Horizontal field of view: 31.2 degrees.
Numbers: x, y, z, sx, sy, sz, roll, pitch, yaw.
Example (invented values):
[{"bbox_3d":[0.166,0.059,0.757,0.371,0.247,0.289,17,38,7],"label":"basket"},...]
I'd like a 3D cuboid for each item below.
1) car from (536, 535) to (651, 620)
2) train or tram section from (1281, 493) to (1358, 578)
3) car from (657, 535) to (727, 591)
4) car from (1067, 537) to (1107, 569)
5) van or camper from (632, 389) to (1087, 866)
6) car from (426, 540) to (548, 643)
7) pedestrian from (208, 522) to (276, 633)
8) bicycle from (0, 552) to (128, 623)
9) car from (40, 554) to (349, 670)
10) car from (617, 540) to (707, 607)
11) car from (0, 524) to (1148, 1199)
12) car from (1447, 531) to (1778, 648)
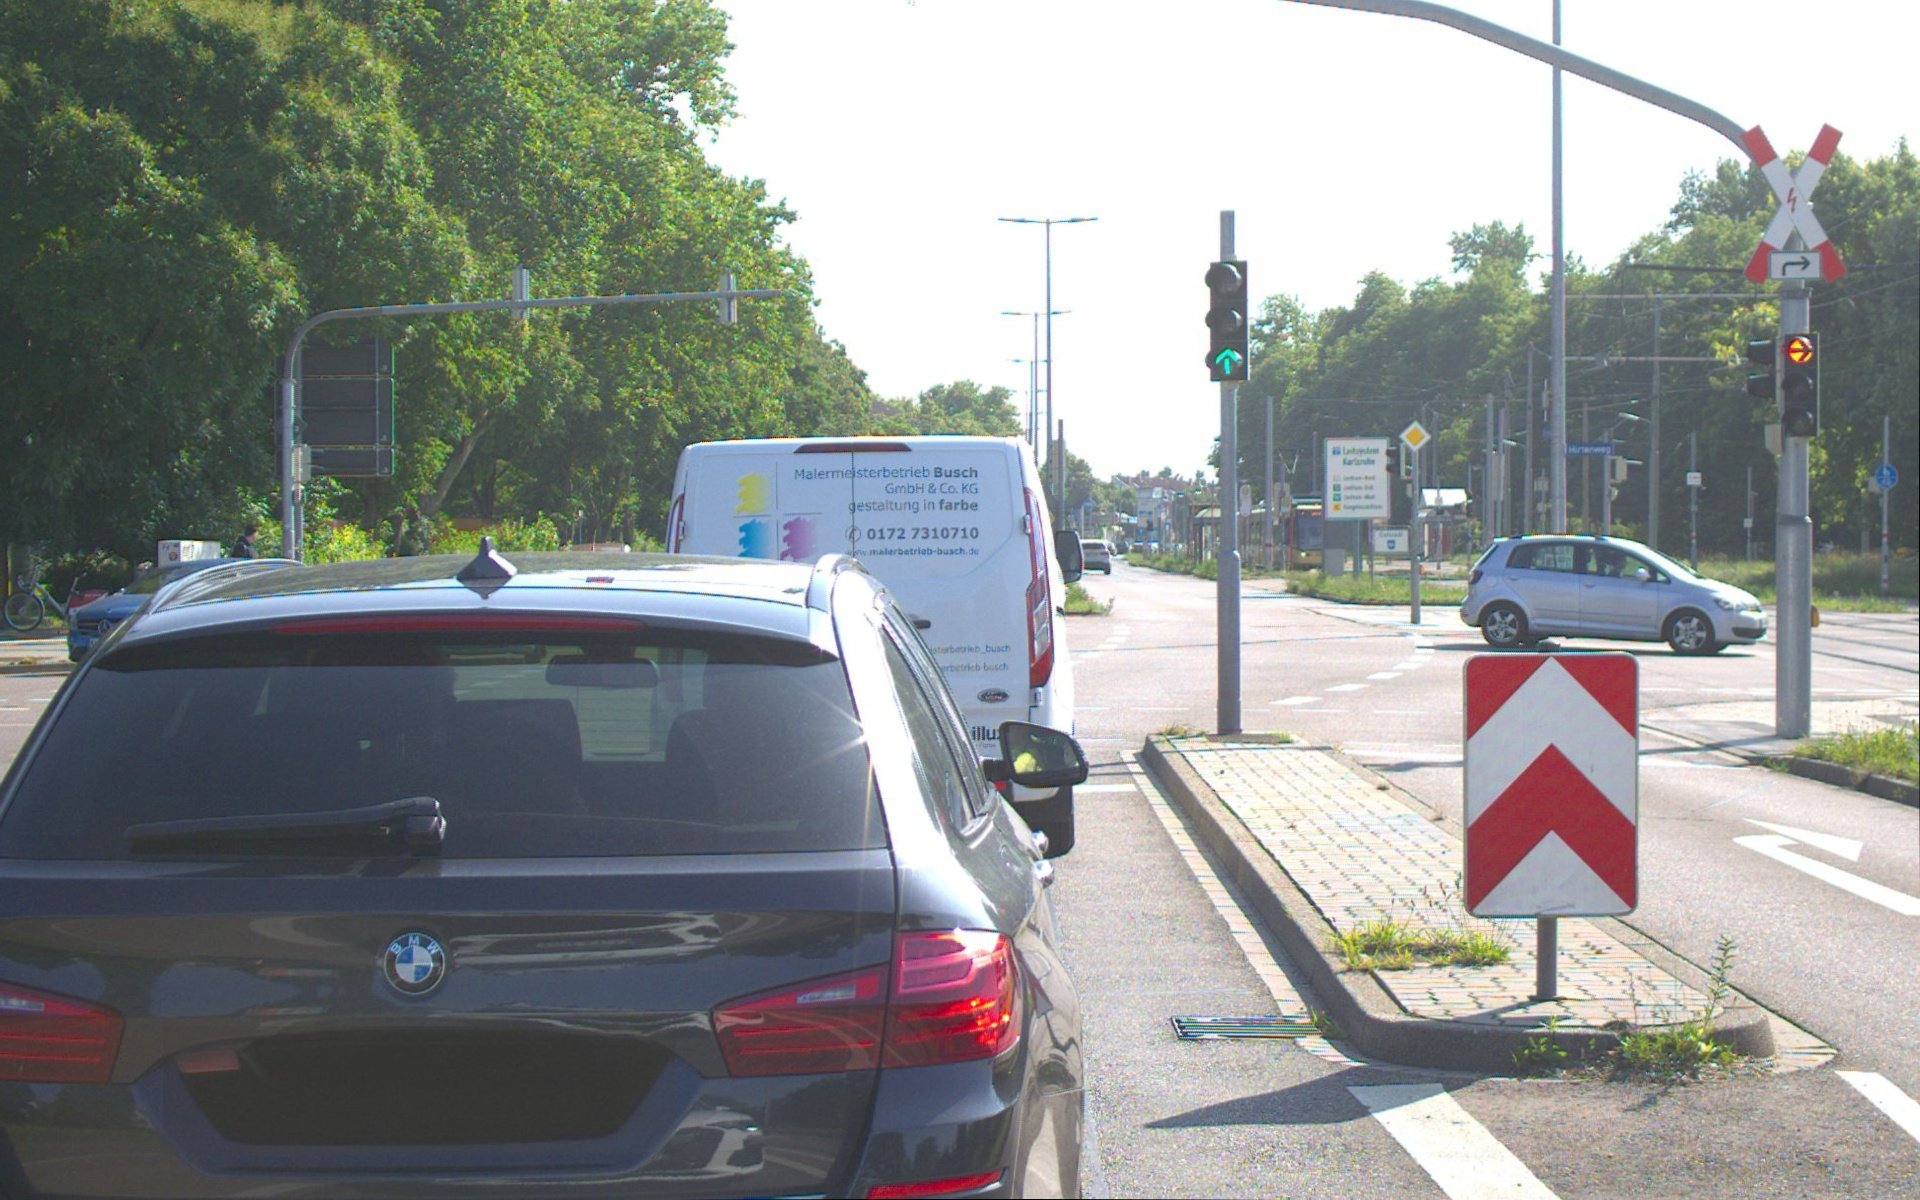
[{"bbox_3d":[-7.101,-0.459,66.984,1.745,1.556,4.000,-2,1,0],"label":"car"},{"bbox_3d":[16.000,-2.807,153.632,2.796,3.606,12.954,1,1,3],"label":"train or tram section"},{"bbox_3d":[-7.460,-1.051,95.968,1.788,1.515,4.001,-1,1,-2],"label":"car"},{"bbox_3d":[5.932,-2.234,161.285,1.793,1.481,3.900,0,1,1],"label":"car"},{"bbox_3d":[-0.403,0.076,17.382,1.993,2.089,4.598,0,1,1],"label":"van or camper"},{"bbox_3d":[-7.199,-0.169,52.584,1.702,1.460,4.370,-2,1,-6],"label":"car"},{"bbox_3d":[-11.382,-0.366,54.522,0.816,1.746,0.931,0,1,5],"label":"pedestrian"},{"bbox_3d":[-14.266,-0.199,54.662,1.909,1.115,0.632,0,1,0],"label":"bicycle"},{"bbox_3d":[-9.926,0.119,44.923,1.781,1.410,4.239,0,1,24],"label":"car"},{"bbox_3d":[-6.912,-0.638,80.024,1.888,1.469,4.100,-1,1,-2],"label":"car"},{"bbox_3d":[-0.726,0.614,6.454,1.903,1.500,4.065,0,1,0],"label":"car"},{"bbox_3d":[9.064,-0.172,47.805,4.196,1.557,1.853,1,1,25],"label":"car"}]
